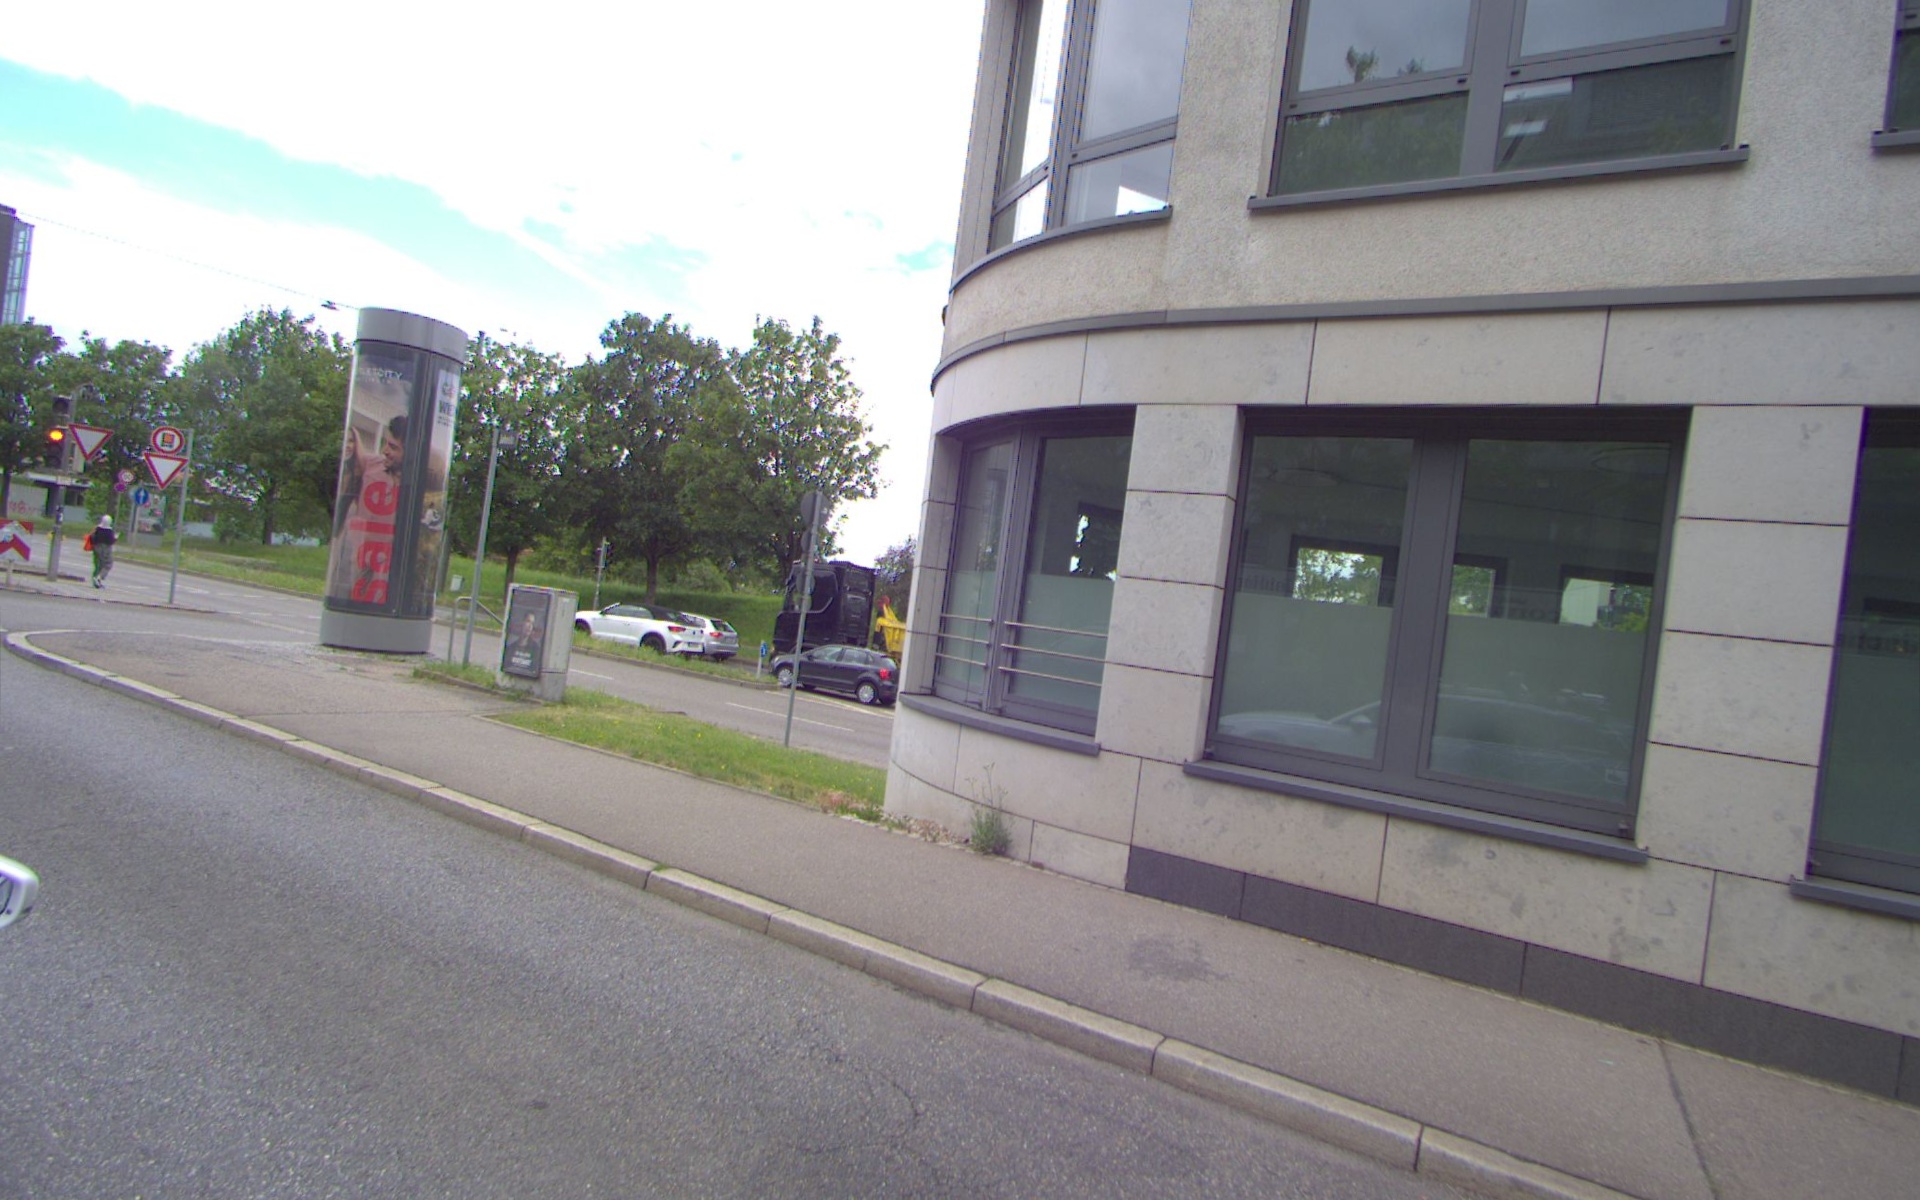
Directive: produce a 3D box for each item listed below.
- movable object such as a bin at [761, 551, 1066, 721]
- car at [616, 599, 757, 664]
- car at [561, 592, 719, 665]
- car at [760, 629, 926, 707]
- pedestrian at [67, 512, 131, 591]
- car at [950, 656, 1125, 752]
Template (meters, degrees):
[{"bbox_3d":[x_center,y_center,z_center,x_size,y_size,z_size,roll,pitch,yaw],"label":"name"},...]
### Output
[{"bbox_3d":[-1.400,1.034,30.555,8.410,3.949,2.870,7,-1,18],"label":"movable object such as a bin"},{"bbox_3d":[-9.107,1.052,33.595,3.925,1.469,2.003,8,-3,19],"label":"car"},{"bbox_3d":[-9.499,0.864,29.967,3.925,1.469,2.003,8,-3,19],"label":"car"},{"bbox_3d":[-3.203,1.891,27.725,3.925,1.469,2.003,8,-3,19],"label":"car"},{"bbox_3d":[-18.862,-1.052,22.062,0.564,1.602,0.739,9,-2,-8],"label":"pedestrian"},{"bbox_3d":[2.012,2.618,25.703,3.925,1.723,2.003,8,-3,19],"label":"car"}]
